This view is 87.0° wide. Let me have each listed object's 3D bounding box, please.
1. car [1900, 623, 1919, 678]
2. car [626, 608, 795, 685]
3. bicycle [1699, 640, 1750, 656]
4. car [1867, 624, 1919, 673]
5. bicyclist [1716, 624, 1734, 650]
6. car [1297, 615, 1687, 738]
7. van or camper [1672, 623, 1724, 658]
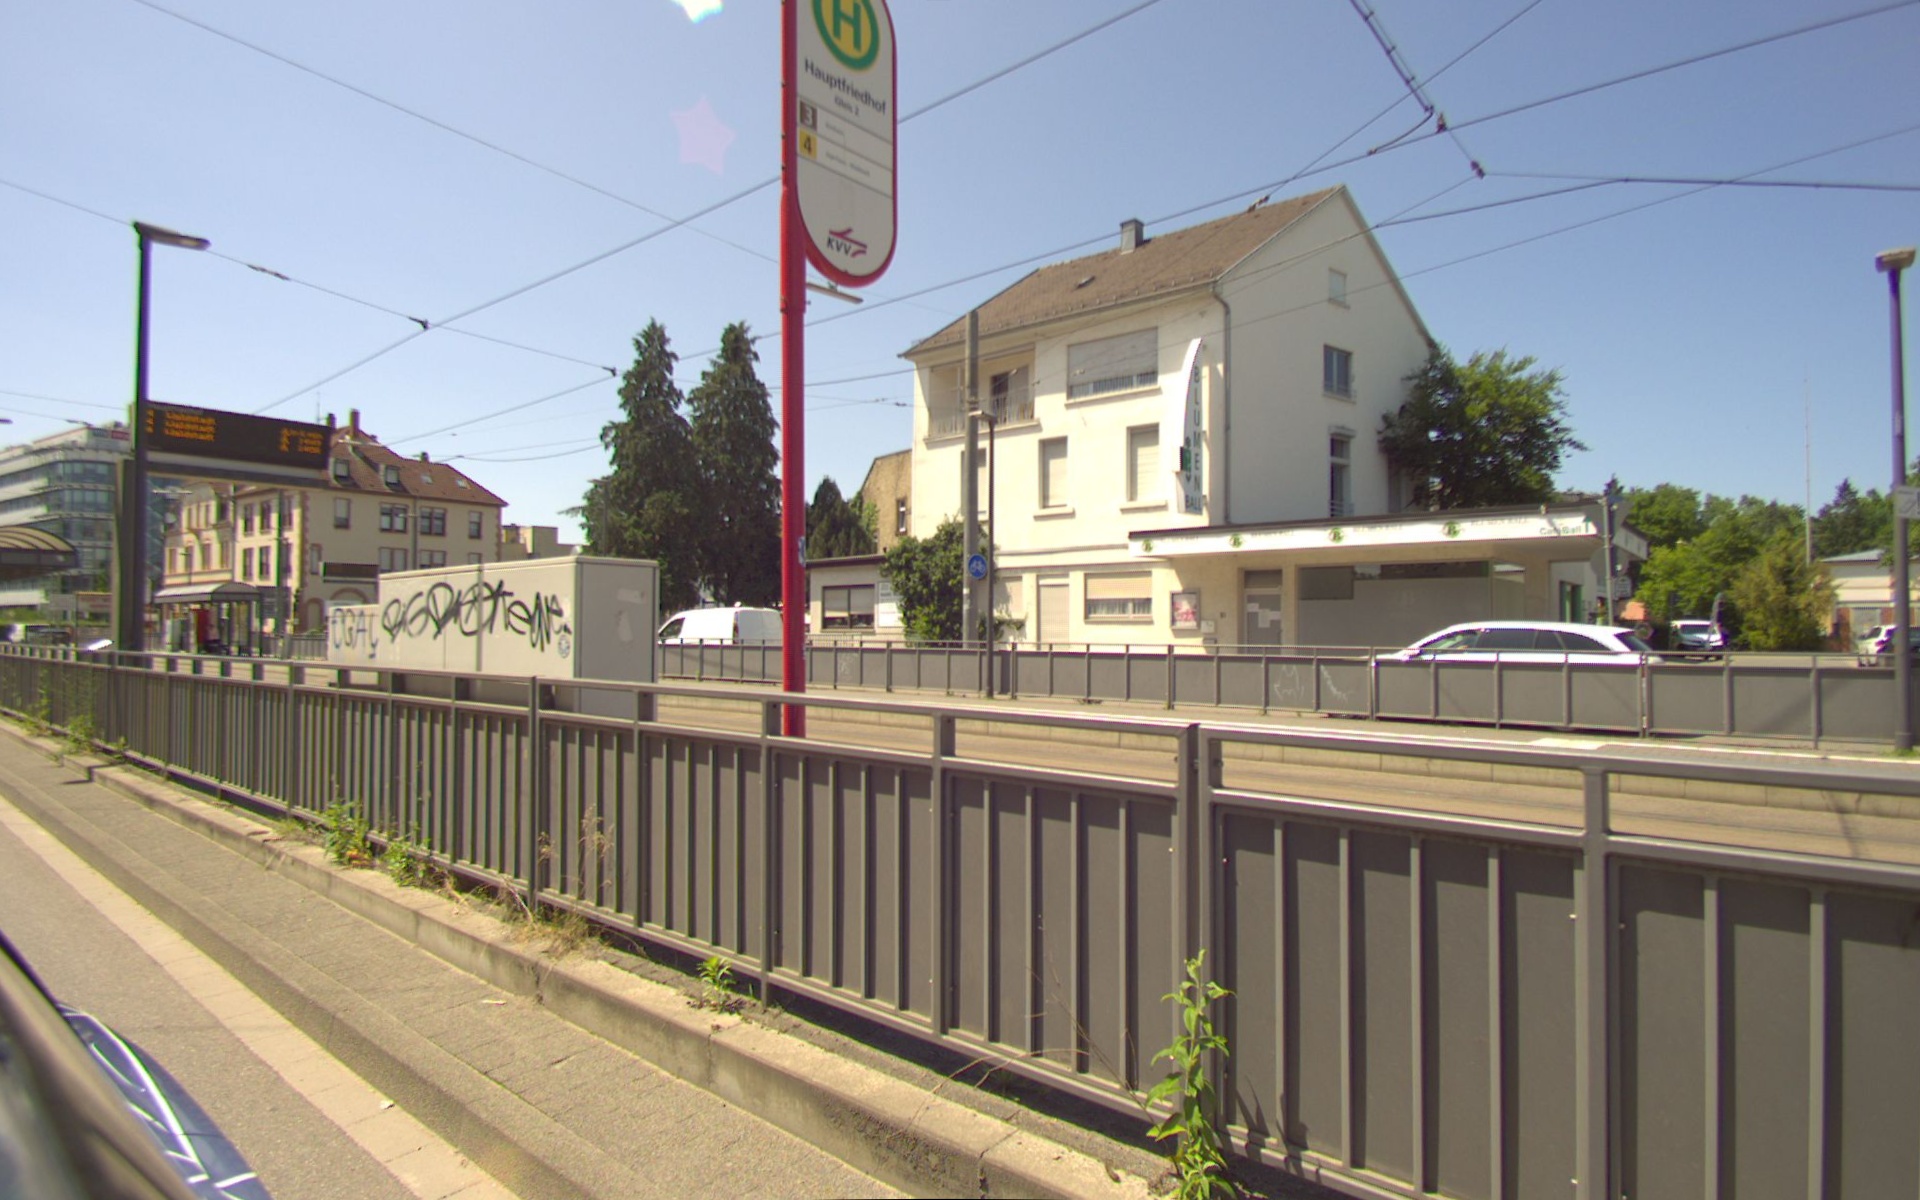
[{"bbox_3d":[25.800,1.322,26.470,1.644,1.381,3.760,-2,-3,42],"label":"car"},{"bbox_3d":[-6.531,1.179,26.273,4.694,1.830,1.837,-1,-3,40],"label":"car"},{"bbox_3d":[42.126,2.638,55.802,0.608,0.793,2.200,1,-2,-29],"label":"bicycle"},{"bbox_3d":[29.468,1.512,31.561,1.644,1.457,3.761,-2,-3,41],"label":"car"},{"bbox_3d":[42.153,2.039,55.765,0.612,1.446,0.531,1,-2,-29],"label":"bicyclist"},{"bbox_3d":[7.380,0.998,14.352,4.620,1.479,1.799,-1,-3,40],"label":"car"},{"bbox_3d":[34.786,1.887,47.758,1.686,1.578,3.784,-1,-2,32],"label":"van or camper"}]
